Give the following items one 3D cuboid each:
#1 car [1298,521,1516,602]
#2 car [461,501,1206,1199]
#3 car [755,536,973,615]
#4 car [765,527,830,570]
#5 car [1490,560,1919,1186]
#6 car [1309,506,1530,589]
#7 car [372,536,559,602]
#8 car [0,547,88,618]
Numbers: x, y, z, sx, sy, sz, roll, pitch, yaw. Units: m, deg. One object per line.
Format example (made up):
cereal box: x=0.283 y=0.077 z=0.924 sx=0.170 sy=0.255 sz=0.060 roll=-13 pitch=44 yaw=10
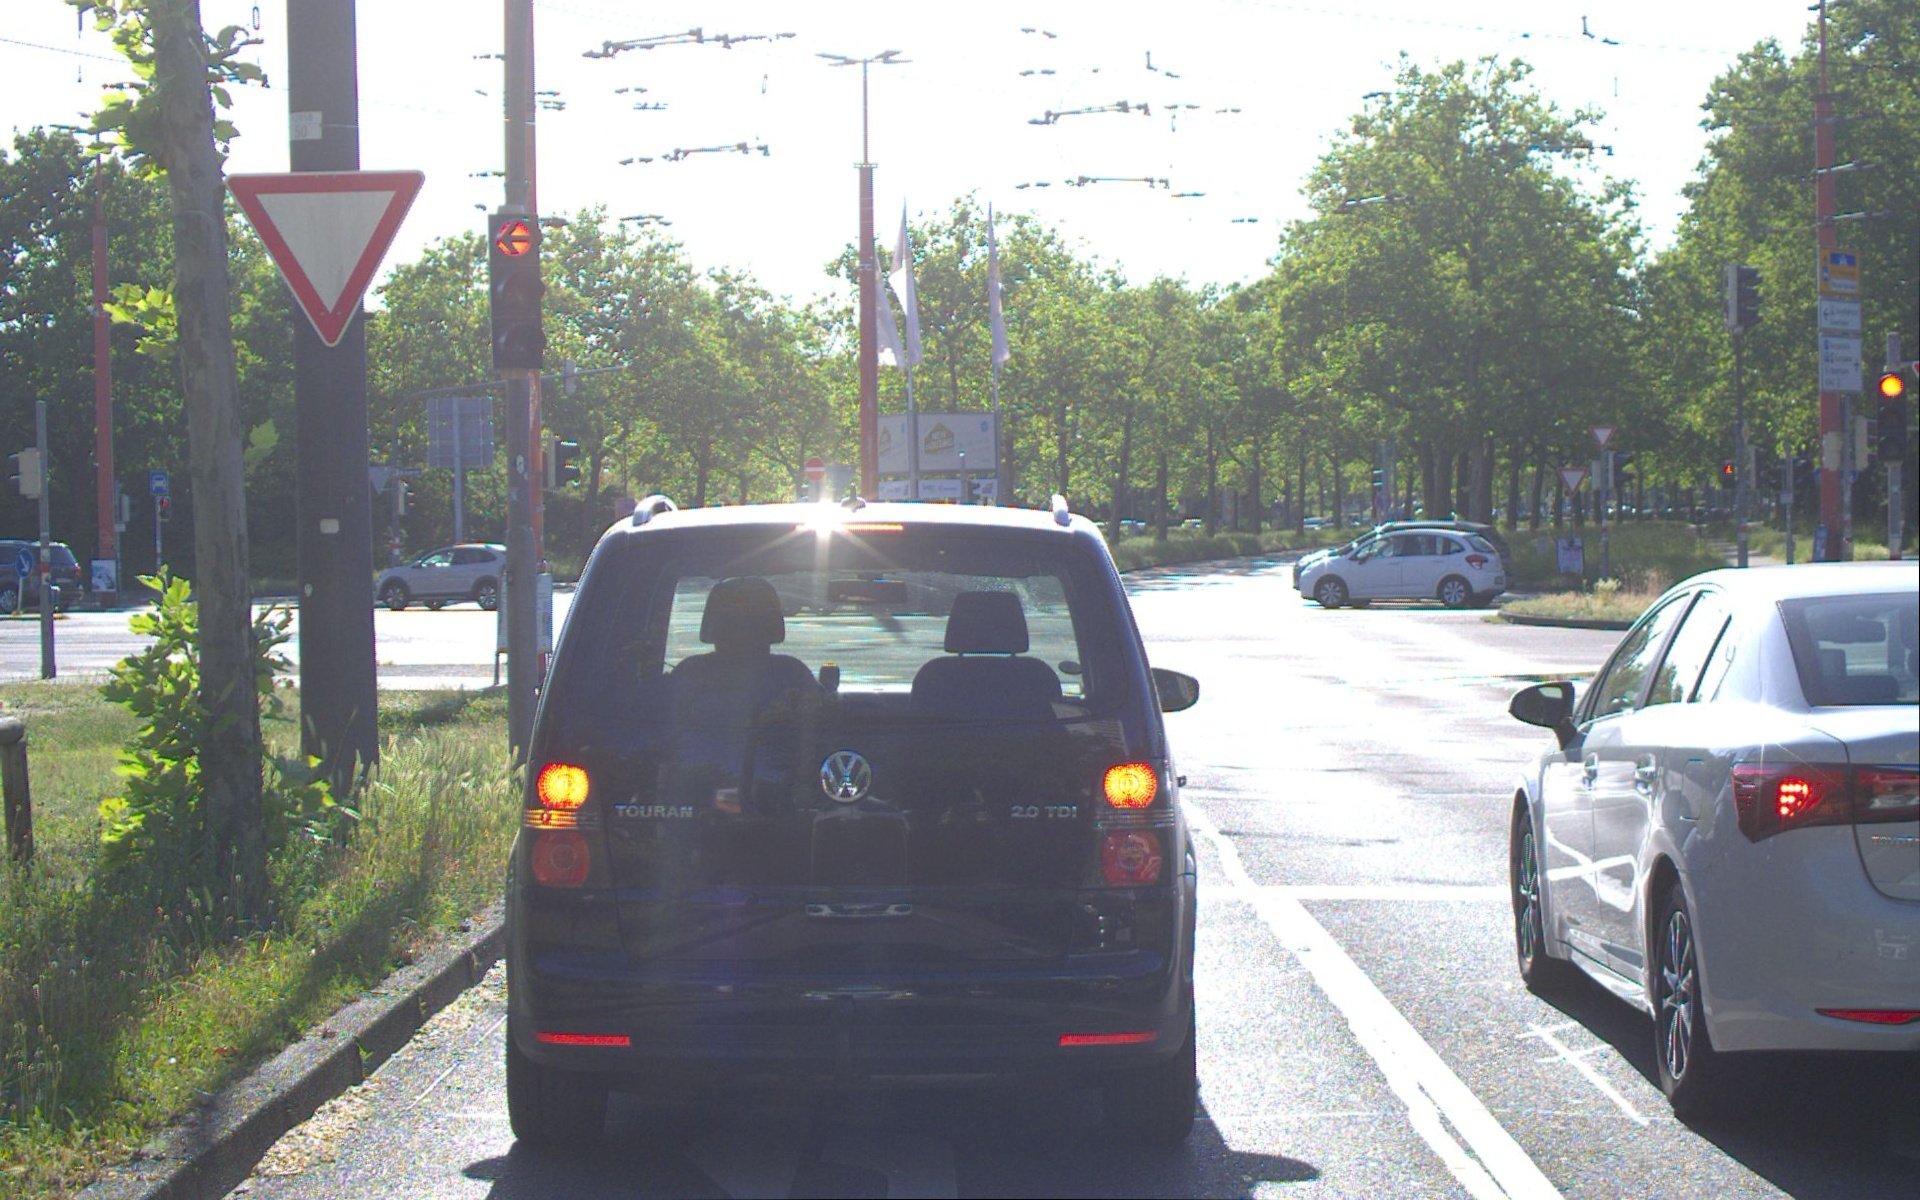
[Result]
car: x=8.588 y=-0.744 z=66.032 sx=3.824 sy=1.517 sz=1.693 roll=0 pitch=1 yaw=25
car: x=-0.316 y=0.548 z=9.815 sx=1.700 sy=1.616 sz=3.897 roll=0 pitch=1 yaw=-1
car: x=-1.992 y=-0.522 z=71.241 sx=4.125 sy=1.592 sz=1.826 roll=0 pitch=1 yaw=27
car: x=-6.412 y=-2.029 z=135.892 sx=1.915 sy=1.630 sz=3.999 roll=1 pitch=1 yaw=7
car: x=2.713 y=0.620 z=10.098 sx=1.720 sy=1.433 sz=4.198 roll=1 pitch=1 yaw=1
car: x=9.388 y=-1.067 z=70.218 sx=4.125 sy=1.638 sz=1.850 roll=0 pitch=1 yaw=25
car: x=-11.458 y=-0.726 z=79.658 sx=3.969 sy=1.436 sz=1.684 roll=1 pitch=1 yaw=24
car: x=-22.954 y=-0.439 z=81.650 sx=4.185 sy=1.638 sz=1.757 roll=1 pitch=1 yaw=27
